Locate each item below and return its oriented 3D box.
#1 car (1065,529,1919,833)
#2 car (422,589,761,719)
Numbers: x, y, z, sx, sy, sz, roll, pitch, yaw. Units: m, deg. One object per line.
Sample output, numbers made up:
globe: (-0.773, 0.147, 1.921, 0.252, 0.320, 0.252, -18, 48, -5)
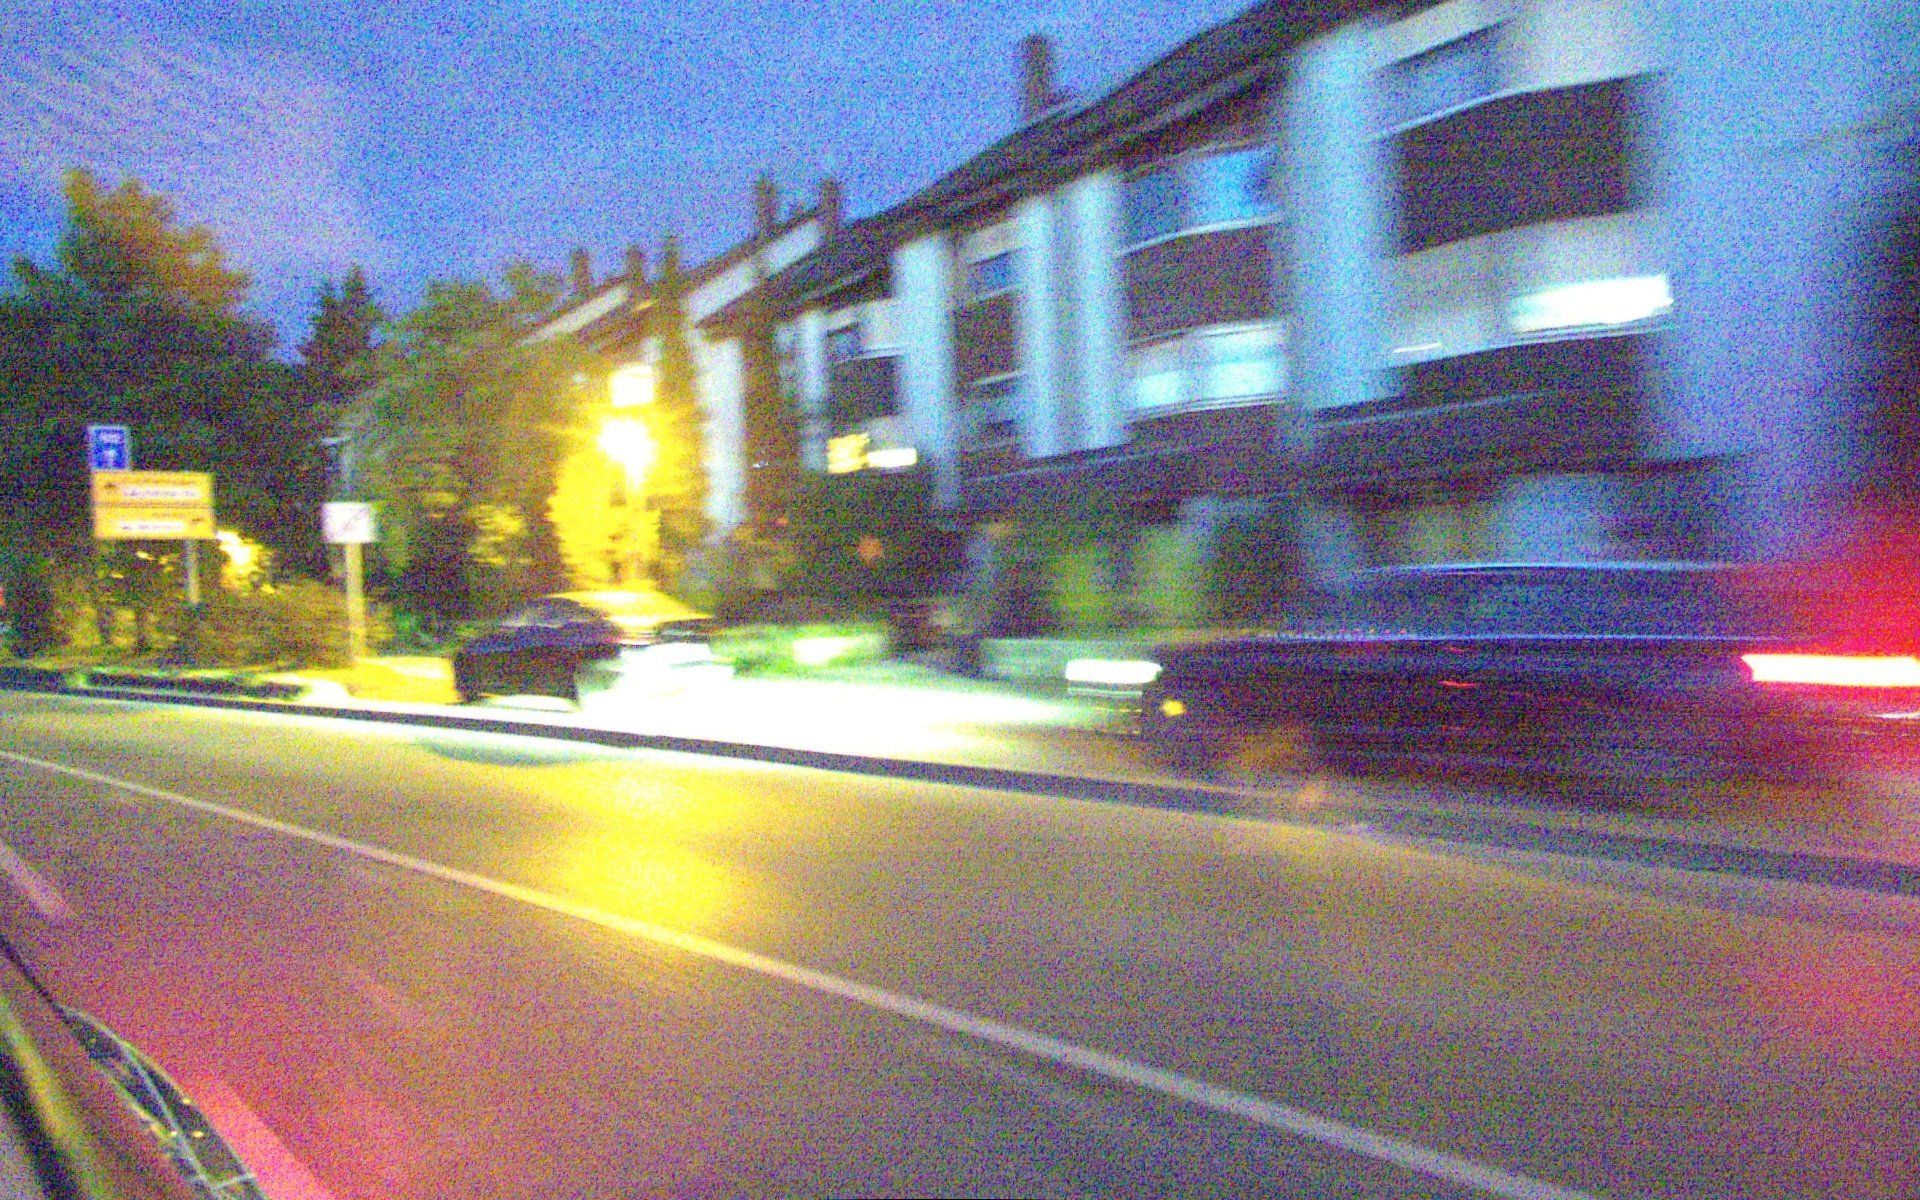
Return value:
car: (3.319, 0.398, 6.895, 4.906, 1.456, 1.832, -1, 1, 36)
car: (-4.962, 0.634, 13.385, 4.588, 1.390, 1.976, -1, 1, 36)
